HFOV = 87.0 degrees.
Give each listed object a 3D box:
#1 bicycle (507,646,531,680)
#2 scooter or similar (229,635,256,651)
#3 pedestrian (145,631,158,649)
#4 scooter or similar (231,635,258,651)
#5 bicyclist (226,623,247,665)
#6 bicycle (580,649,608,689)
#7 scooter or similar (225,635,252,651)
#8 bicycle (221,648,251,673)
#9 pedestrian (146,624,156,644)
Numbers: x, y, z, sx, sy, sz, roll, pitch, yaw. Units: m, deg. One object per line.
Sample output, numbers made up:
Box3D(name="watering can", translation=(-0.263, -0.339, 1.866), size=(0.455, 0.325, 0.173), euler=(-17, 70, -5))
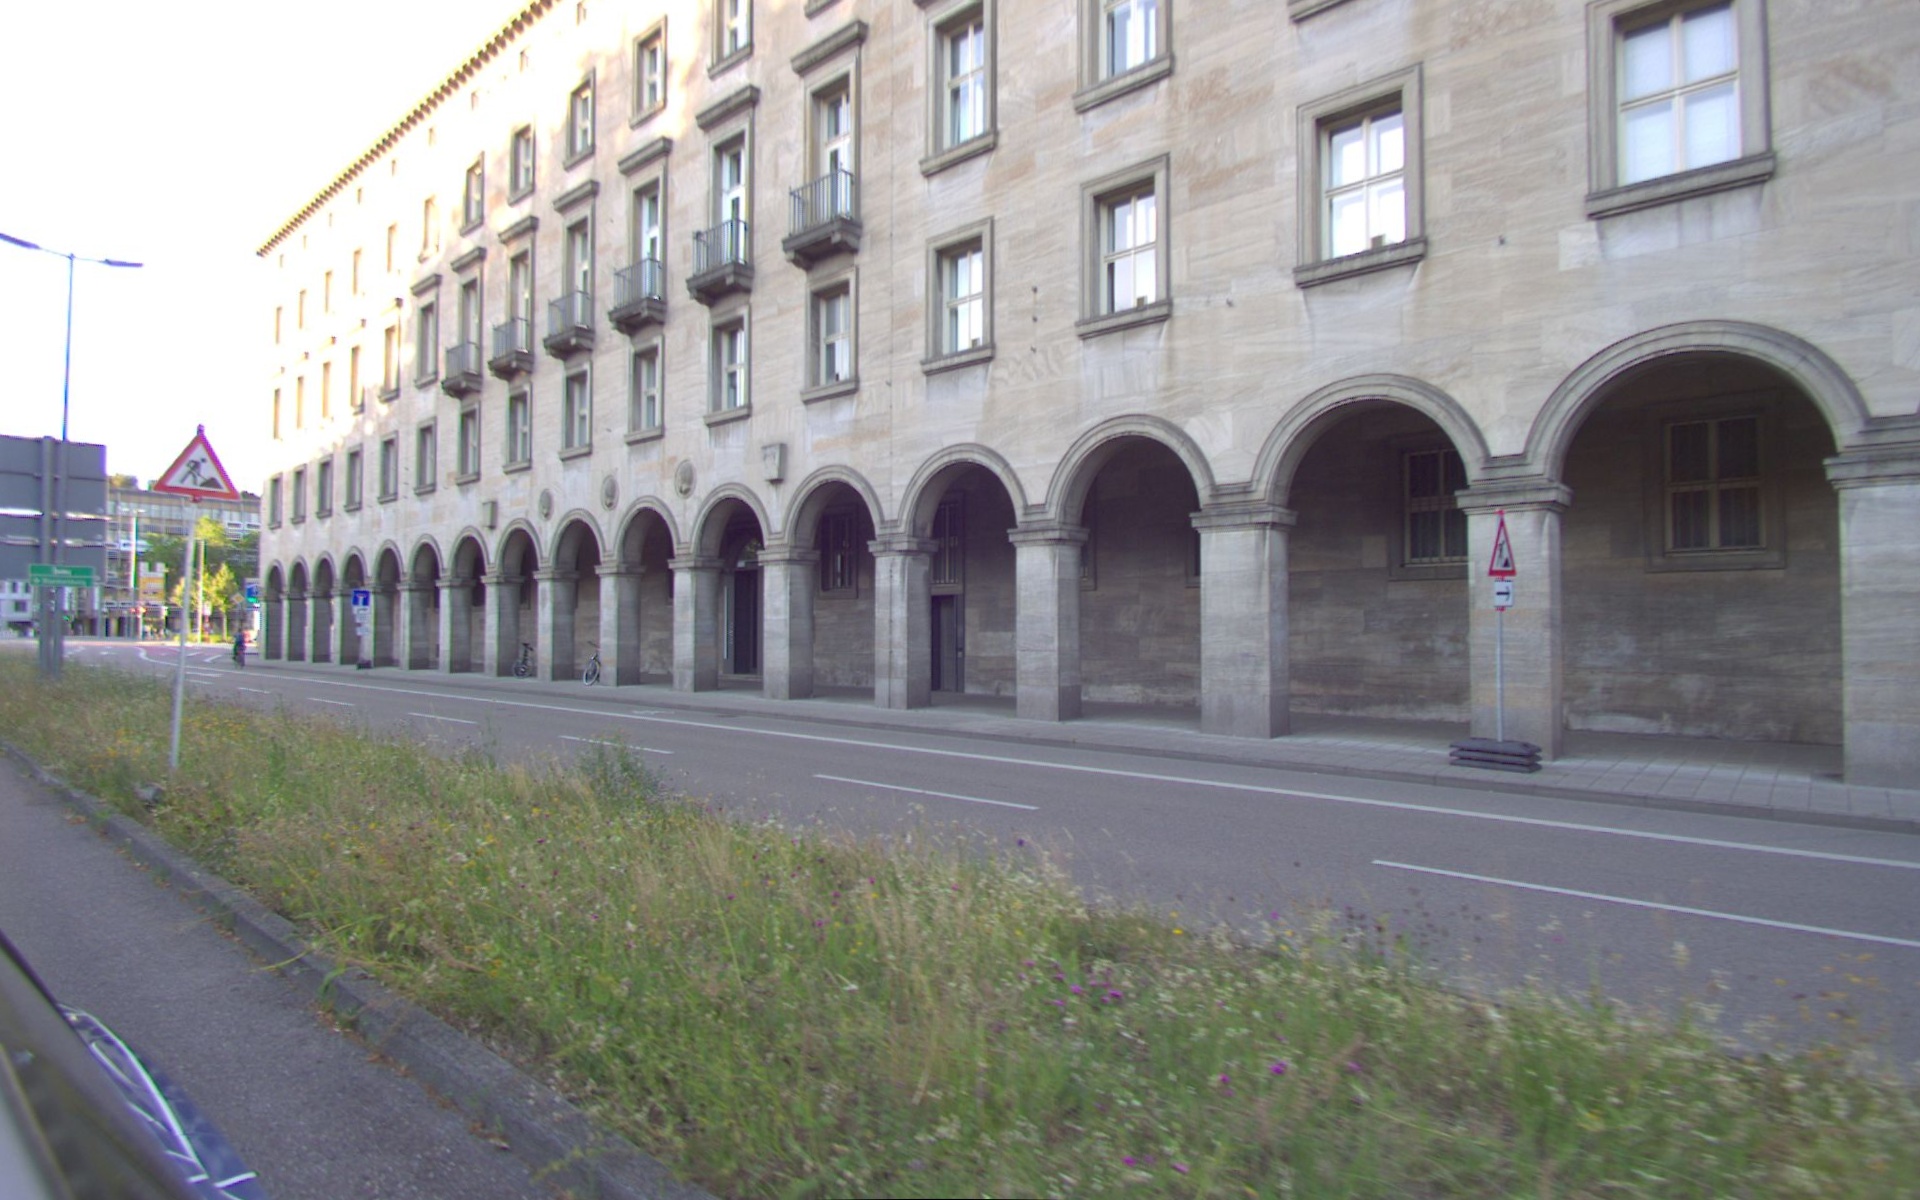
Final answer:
Box3D(name="bicycle", translation=(-13.698, 1.935, 31.423), size=(0.470, 1.013, 2.011), euler=(1, -2, -30))
Box3D(name="scooter or similar", translation=(-61.433, 3.677, 86.703), size=(0.422, 1.315, 1.814), euler=(-1, -2, 35))
Box3D(name="pedestrian", translation=(-80.268, 3.965, 100.446), size=(0.775, 1.851, 0.862), euler=(-2, -3, 42))
Box3D(name="scooter or similar", translation=(-61.080, 3.663, 86.438), size=(0.422, 1.315, 1.819), euler=(-1, -2, 35))
Box3D(name="bicyclist", translation=(-29.798, 1.791, 41.690), size=(0.748, 1.706, 0.531), euler=(-2, -3, 41))
Box3D(name="bicycle", translation=(-10.072, 1.881, 27.918), size=(0.471, 1.013, 2.010), euler=(1, -2, -13))
Box3D(name="scooter or similar", translation=(-62.238, 3.695, 87.282), size=(0.499, 1.315, 1.842), euler=(-1, -2, 35))
Box3D(name="bicycle", translation=(-29.841, 2.478, 41.707), size=(2.004, 1.013, 0.536), euler=(-2, -3, 41))
Box3D(name="pedestrian", translation=(-80.866, 3.388, 101.184), size=(0.647, 1.948, 0.652), euler=(-3, -4, 43))
